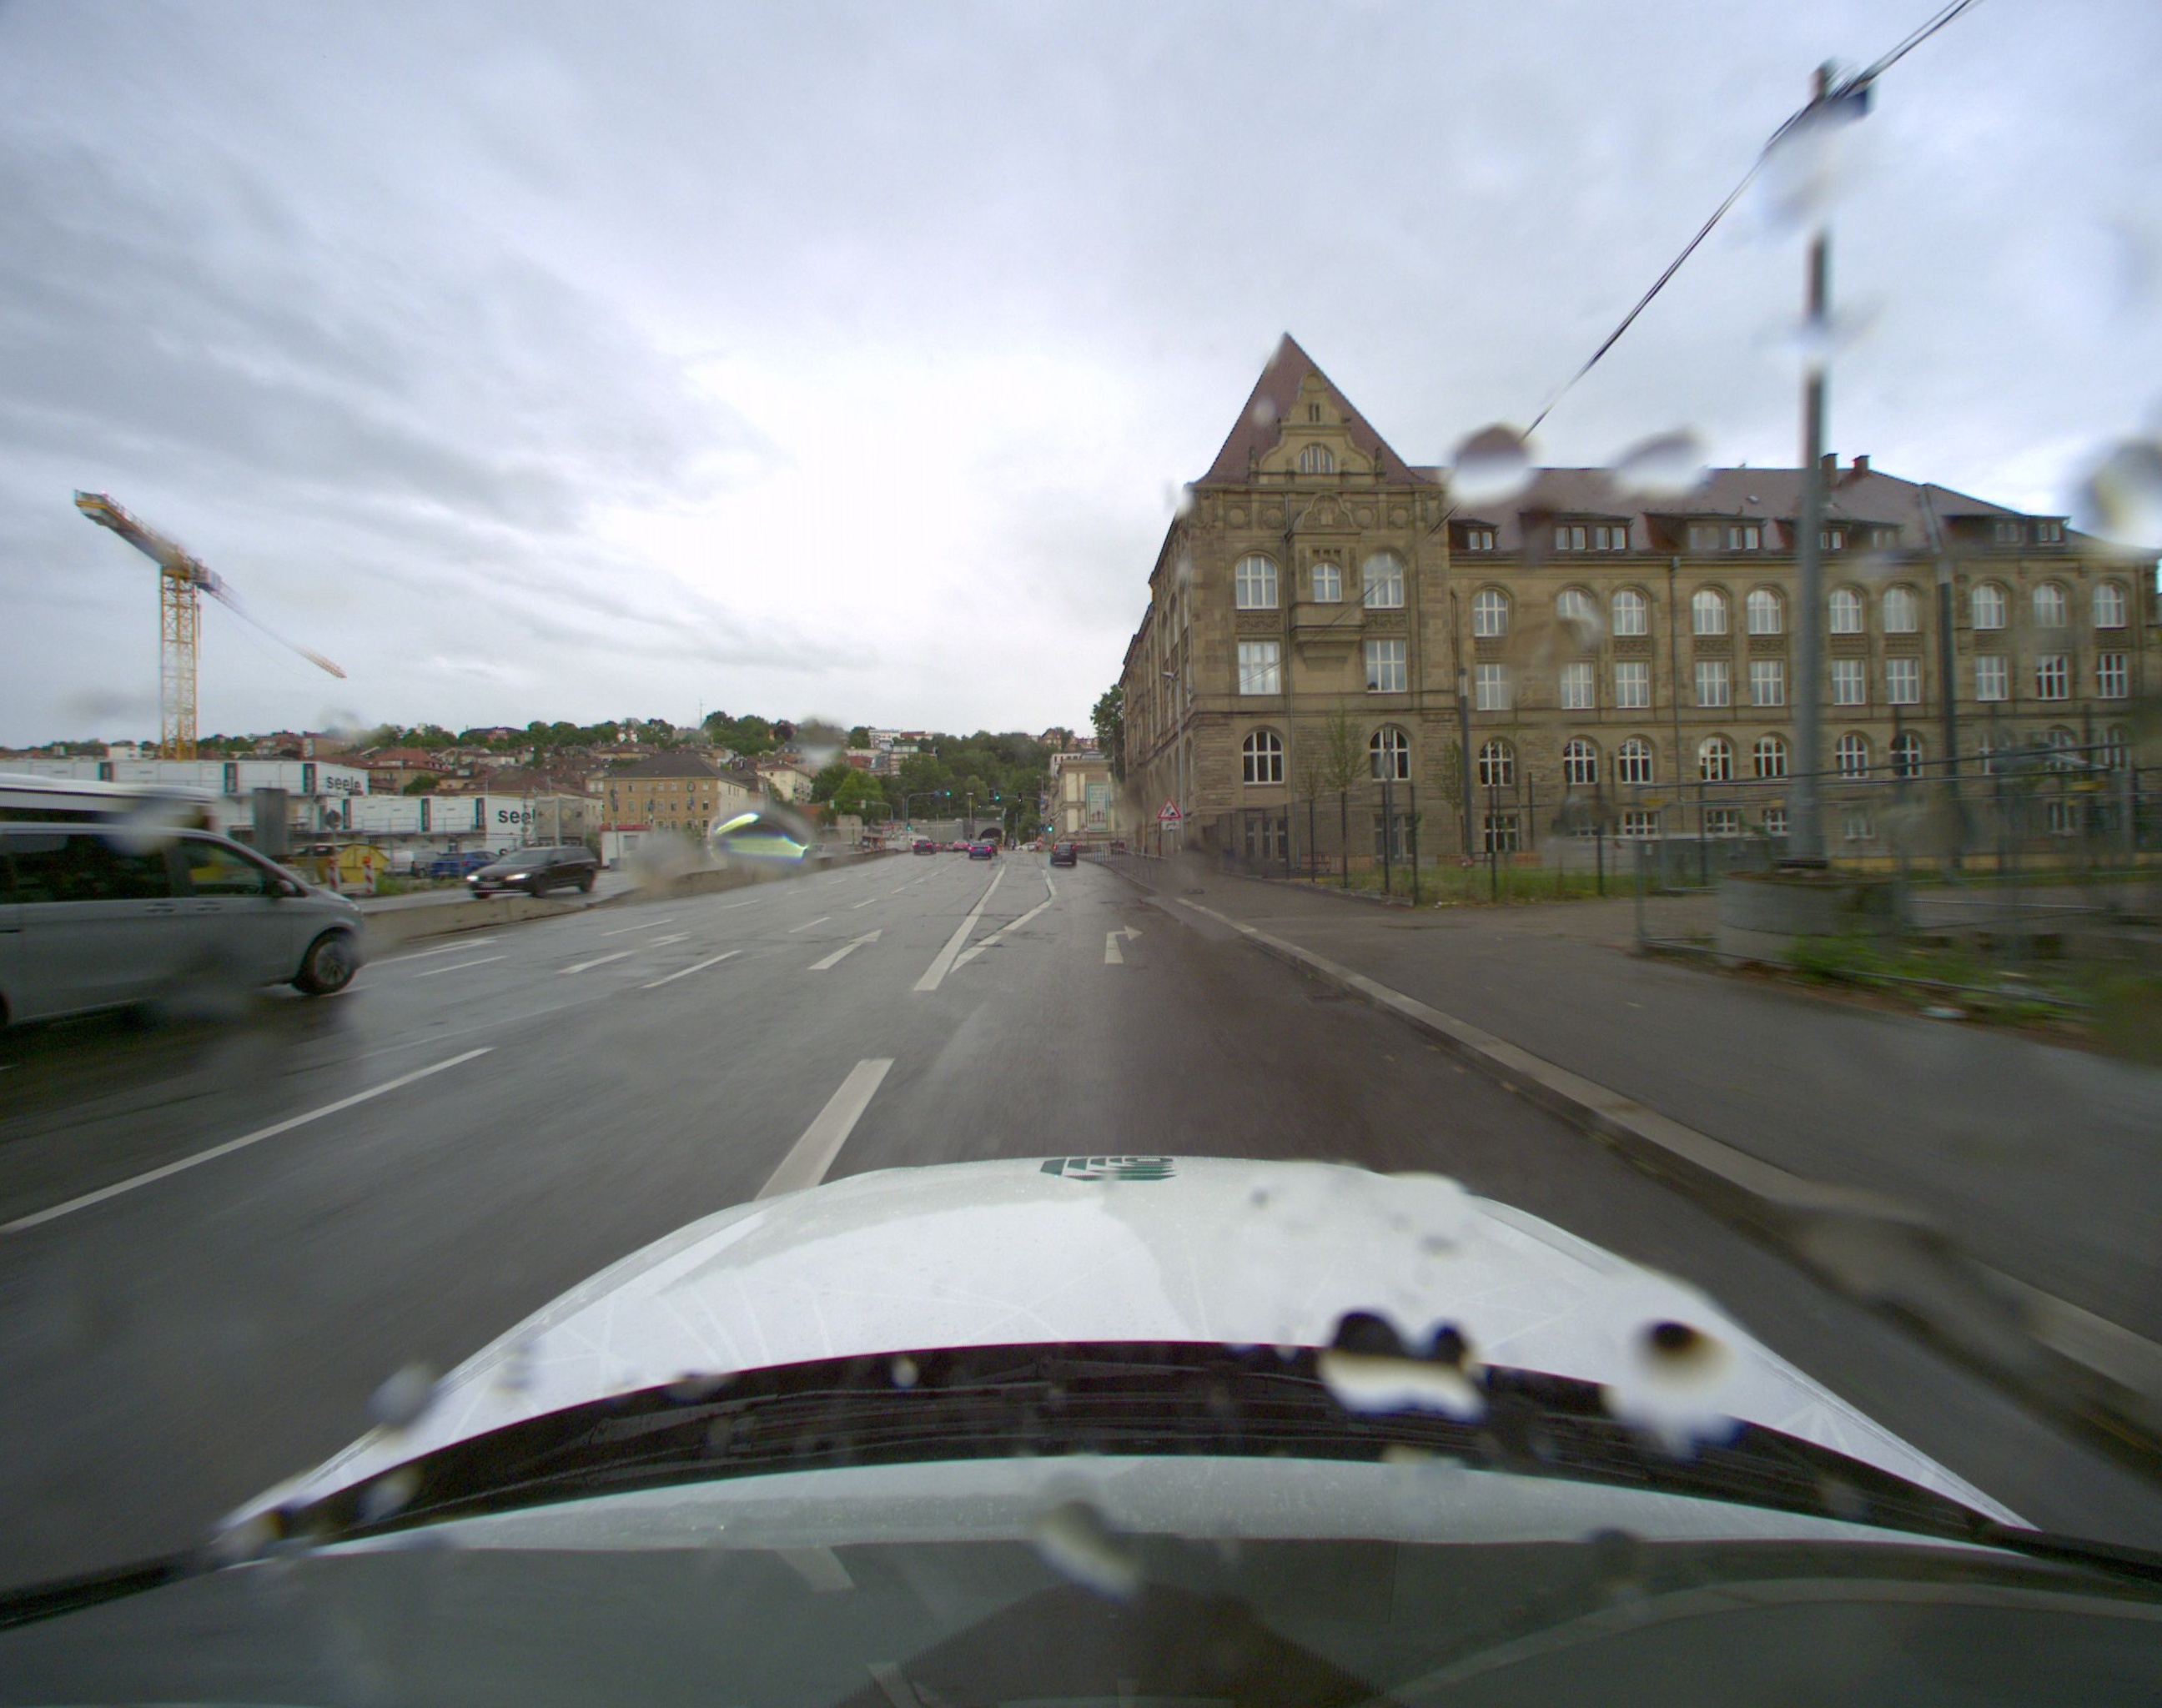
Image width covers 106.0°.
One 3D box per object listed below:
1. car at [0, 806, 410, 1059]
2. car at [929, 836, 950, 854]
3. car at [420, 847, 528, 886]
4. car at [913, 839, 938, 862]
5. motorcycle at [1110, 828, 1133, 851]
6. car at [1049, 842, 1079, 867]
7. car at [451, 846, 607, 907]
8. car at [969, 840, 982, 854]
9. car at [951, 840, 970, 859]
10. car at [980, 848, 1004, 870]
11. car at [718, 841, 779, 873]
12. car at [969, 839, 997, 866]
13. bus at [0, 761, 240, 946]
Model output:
[{"bbox_3d":[-9.024,0.593,7.240,1.990,1.856,5.348,0,-1,-5],"label":"car"},{"bbox_3d":[-18.204,-1.125,104.847,1.989,2.014,3.996,-2,-1,-3],"label":"car"},{"bbox_3d":[-27.957,0.516,37.712,1.988,1.621,3.998,-2,1,-2],"label":"car"},{"bbox_3d":[-15.039,-0.314,78.928,2.014,2.014,3.992,-2,-1,-5],"label":"car"},{"bbox_3d":[3.702,-1.309,74.632,1.790,2.013,3.811,-2,1,-2],"label":"motorcycle"},{"bbox_3d":[-1.159,0.061,53.772,1.808,1.527,3.995,-3,-1,-3],"label":"car"},{"bbox_3d":[-17.385,0.710,25.992,2.037,1.662,4.920,-2,-1,-7],"label":"car"},{"bbox_3d":[-16.998,-1.129,131.010,1.993,2.013,3.988,-2,0,-9],"label":"car"},{"bbox_3d":[-13.912,-0.458,94.002,2.051,2.014,3.986,-2,-1,-9],"label":"car"},{"bbox_3d":[-8.690,0.541,79.463,1.770,2.014,4.000,-2,-1,0],"label":"car"},{"bbox_3d":[-20.133,0.233,49.553,1.991,1.756,5.286,-2,-1,-6],"label":"car"},{"bbox_3d":[-7.981,-0.093,66.684,2.102,2.050,3.992,-2,-1,-5],"label":"car"},{"bbox_3d":[-19.728,0.032,13.431,2.699,3.151,9.134,-2,0,-5],"label":"bus"}]
